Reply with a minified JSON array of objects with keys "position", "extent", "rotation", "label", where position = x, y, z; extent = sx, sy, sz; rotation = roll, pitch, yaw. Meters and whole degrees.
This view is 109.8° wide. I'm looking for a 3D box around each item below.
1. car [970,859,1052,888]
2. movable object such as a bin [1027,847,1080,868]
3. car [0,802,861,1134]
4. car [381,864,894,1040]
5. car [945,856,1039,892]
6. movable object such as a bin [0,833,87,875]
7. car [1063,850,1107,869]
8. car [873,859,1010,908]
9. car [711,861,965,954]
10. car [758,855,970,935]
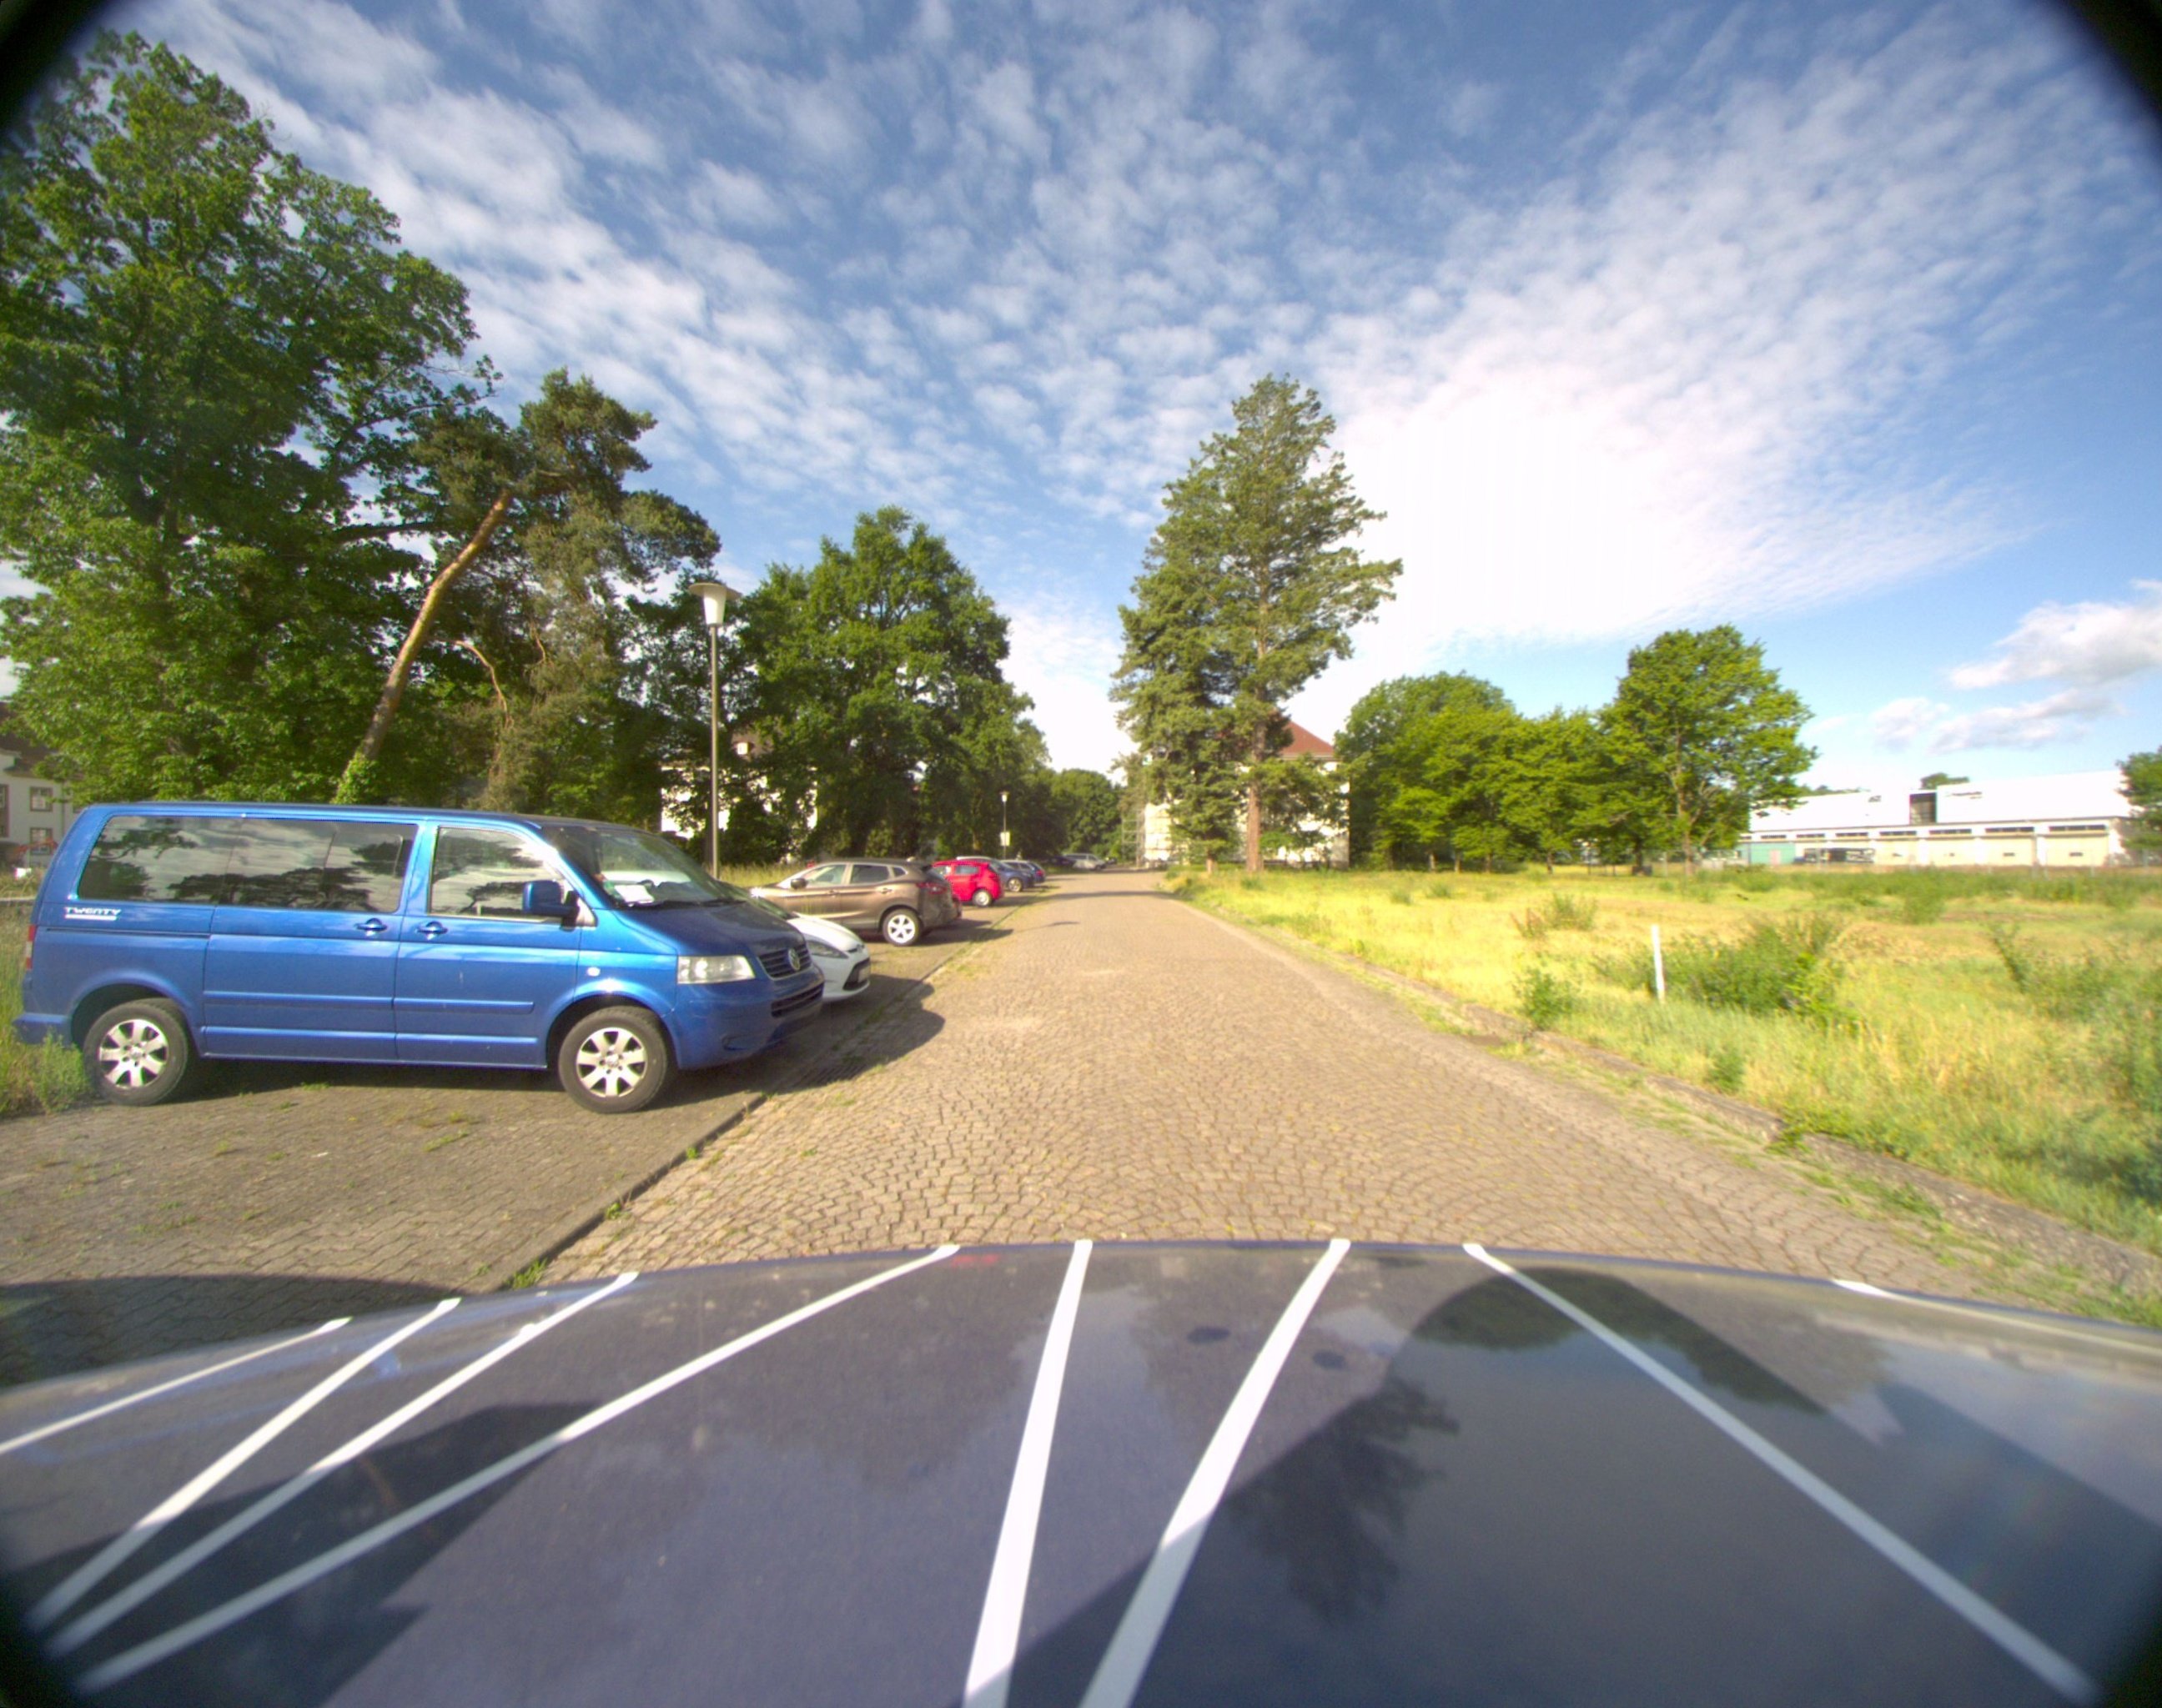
[{"position":[-3.619,0.991,39.770],"extent":[4.098,1.414,1.785],"rotation":[1,0,-1],"label":"car"},{"position":[-2.687,0.382,75.519],"extent":[4.865,2.002,2.002],"rotation":[-1,0,14],"label":"movable object such as a bin"},{"position":[-4.292,0.684,5.605],"extent":[4.710,1.924,2.000],"rotation":[1,0,0],"label":"car"},{"position":[-4.492,0.953,8.236],"extent":[4.408,1.568,1.939],"rotation":[1,0,0],"label":"car"},{"position":[-4.047,0.904,35.083],"extent":[4.098,1.548,1.853],"rotation":[1,0,-1],"label":"car"},{"position":[-88.317,0.015,63.087],"extent":[6.460,3.282,2.859],"rotation":[-3,1,-42],"label":"movable object such as a bin"},{"position":[0.470,0.635,88.485],"extent":[4.933,2.002,1.999],"rotation":[1,1,-5],"label":"car"},{"position":[-4.479,0.935,24.861],"extent":[4.098,1.451,1.853],"rotation":[1,0,-1],"label":"car"},{"position":[-4.450,0.962,14.461],"extent":[4.237,1.588,1.934],"rotation":[0,1,-2],"label":"car"},{"position":[-4.759,0.879,17.171],"extent":[4.237,1.588,1.934],"rotation":[1,1,-2],"label":"car"}]
